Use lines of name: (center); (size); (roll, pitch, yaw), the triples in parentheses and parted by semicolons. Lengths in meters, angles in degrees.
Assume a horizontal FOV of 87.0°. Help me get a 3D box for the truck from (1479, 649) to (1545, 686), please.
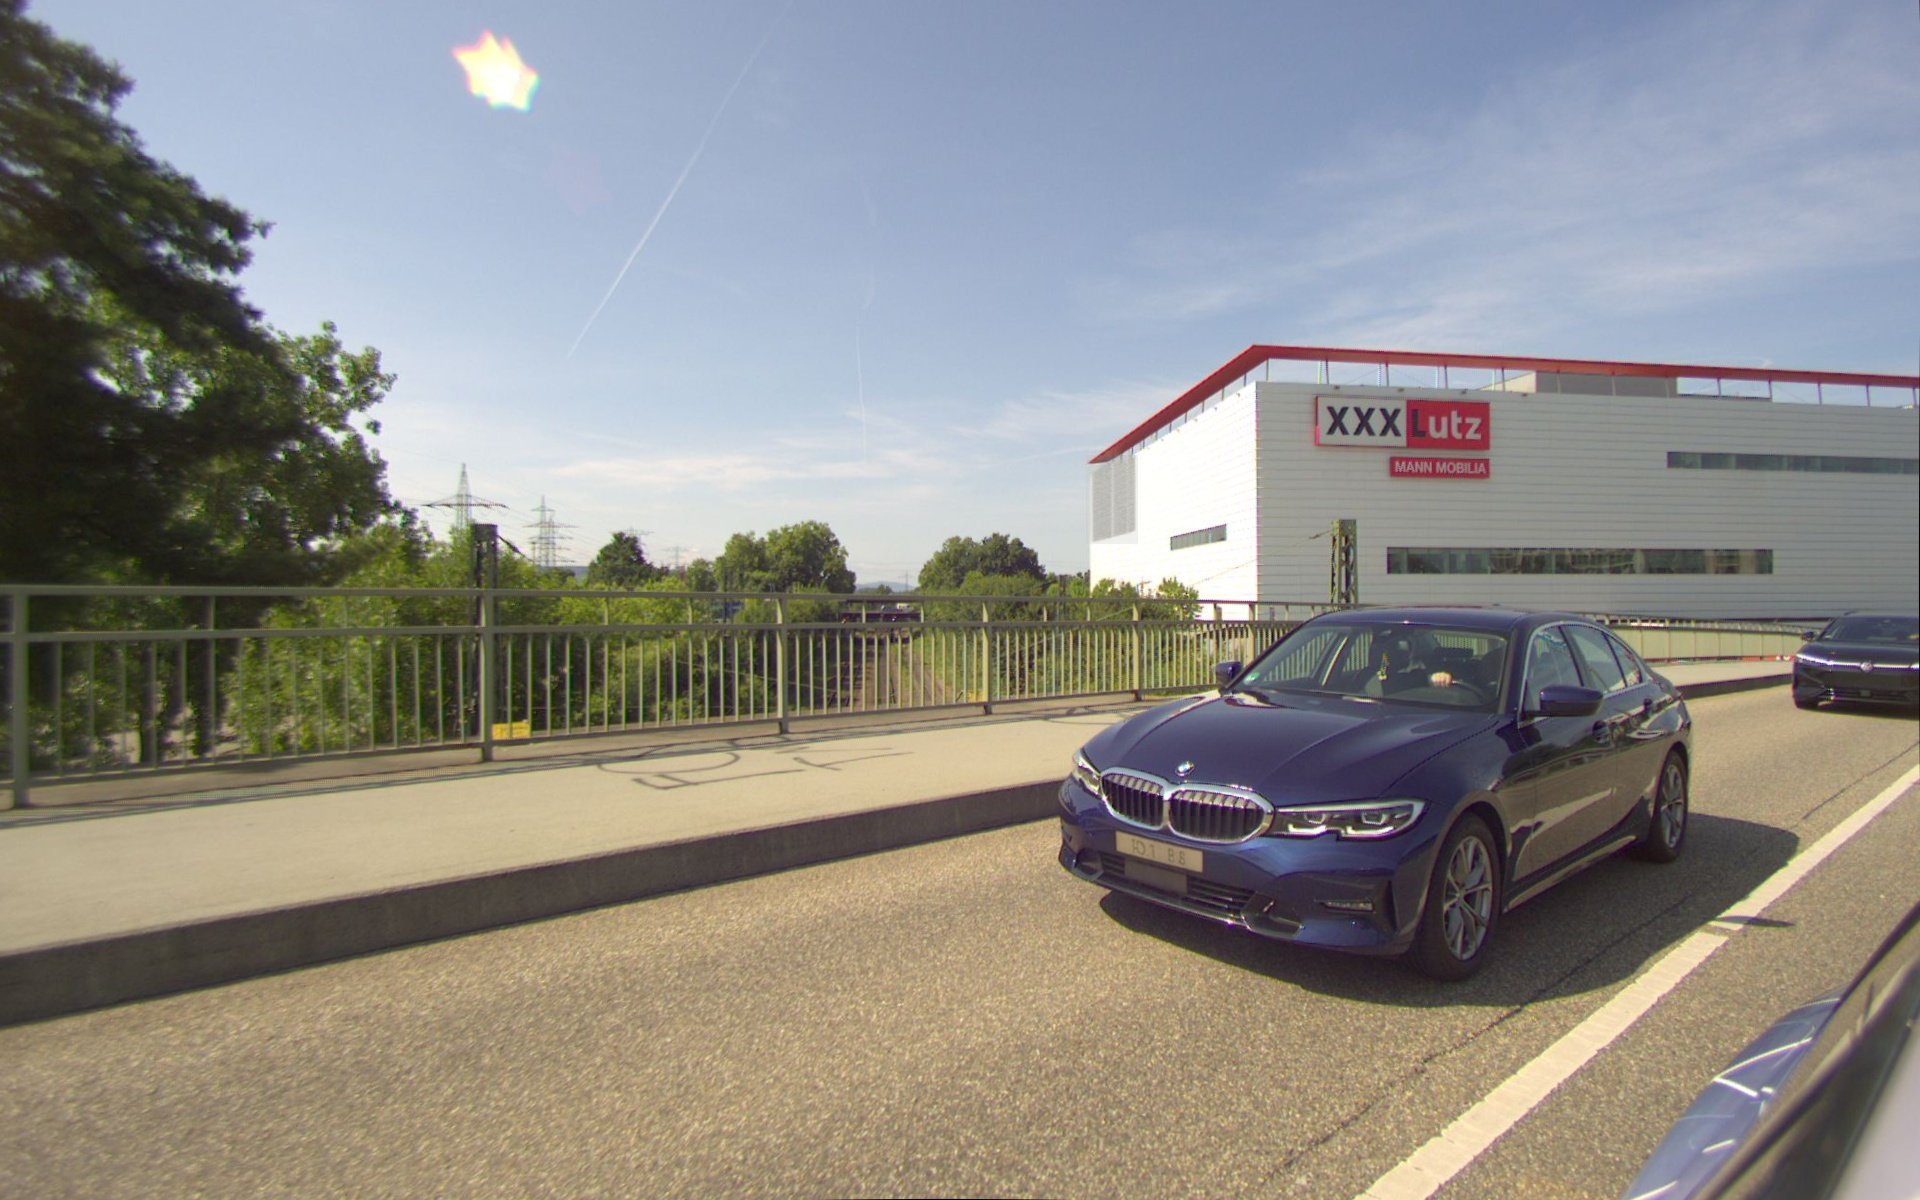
truck: (49.935, 6.070, 91.721); (2.088, 2.964, 6.020); (0, 0, -8)

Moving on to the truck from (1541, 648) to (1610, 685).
truck: (56.429, 6.044, 92.950); (2.088, 2.964, 6.020); (0, 0, -8)

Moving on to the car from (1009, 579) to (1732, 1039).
car: (2.486, 0.662, 5.454); (4.441, 1.502, 1.790); (-1, 0, -41)

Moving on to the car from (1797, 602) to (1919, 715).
car: (14.578, 0.811, 15.672); (4.072, 1.549, 1.859); (0, -1, -41)

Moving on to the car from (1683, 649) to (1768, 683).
car: (67.229, 5.753, 89.040); (2.088, 2.654, 6.022); (0, 0, -11)

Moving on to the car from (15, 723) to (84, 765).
car: (-49.893, 7.872, 55.543); (1.734, 1.638, 4.007); (0, 1, -26)
